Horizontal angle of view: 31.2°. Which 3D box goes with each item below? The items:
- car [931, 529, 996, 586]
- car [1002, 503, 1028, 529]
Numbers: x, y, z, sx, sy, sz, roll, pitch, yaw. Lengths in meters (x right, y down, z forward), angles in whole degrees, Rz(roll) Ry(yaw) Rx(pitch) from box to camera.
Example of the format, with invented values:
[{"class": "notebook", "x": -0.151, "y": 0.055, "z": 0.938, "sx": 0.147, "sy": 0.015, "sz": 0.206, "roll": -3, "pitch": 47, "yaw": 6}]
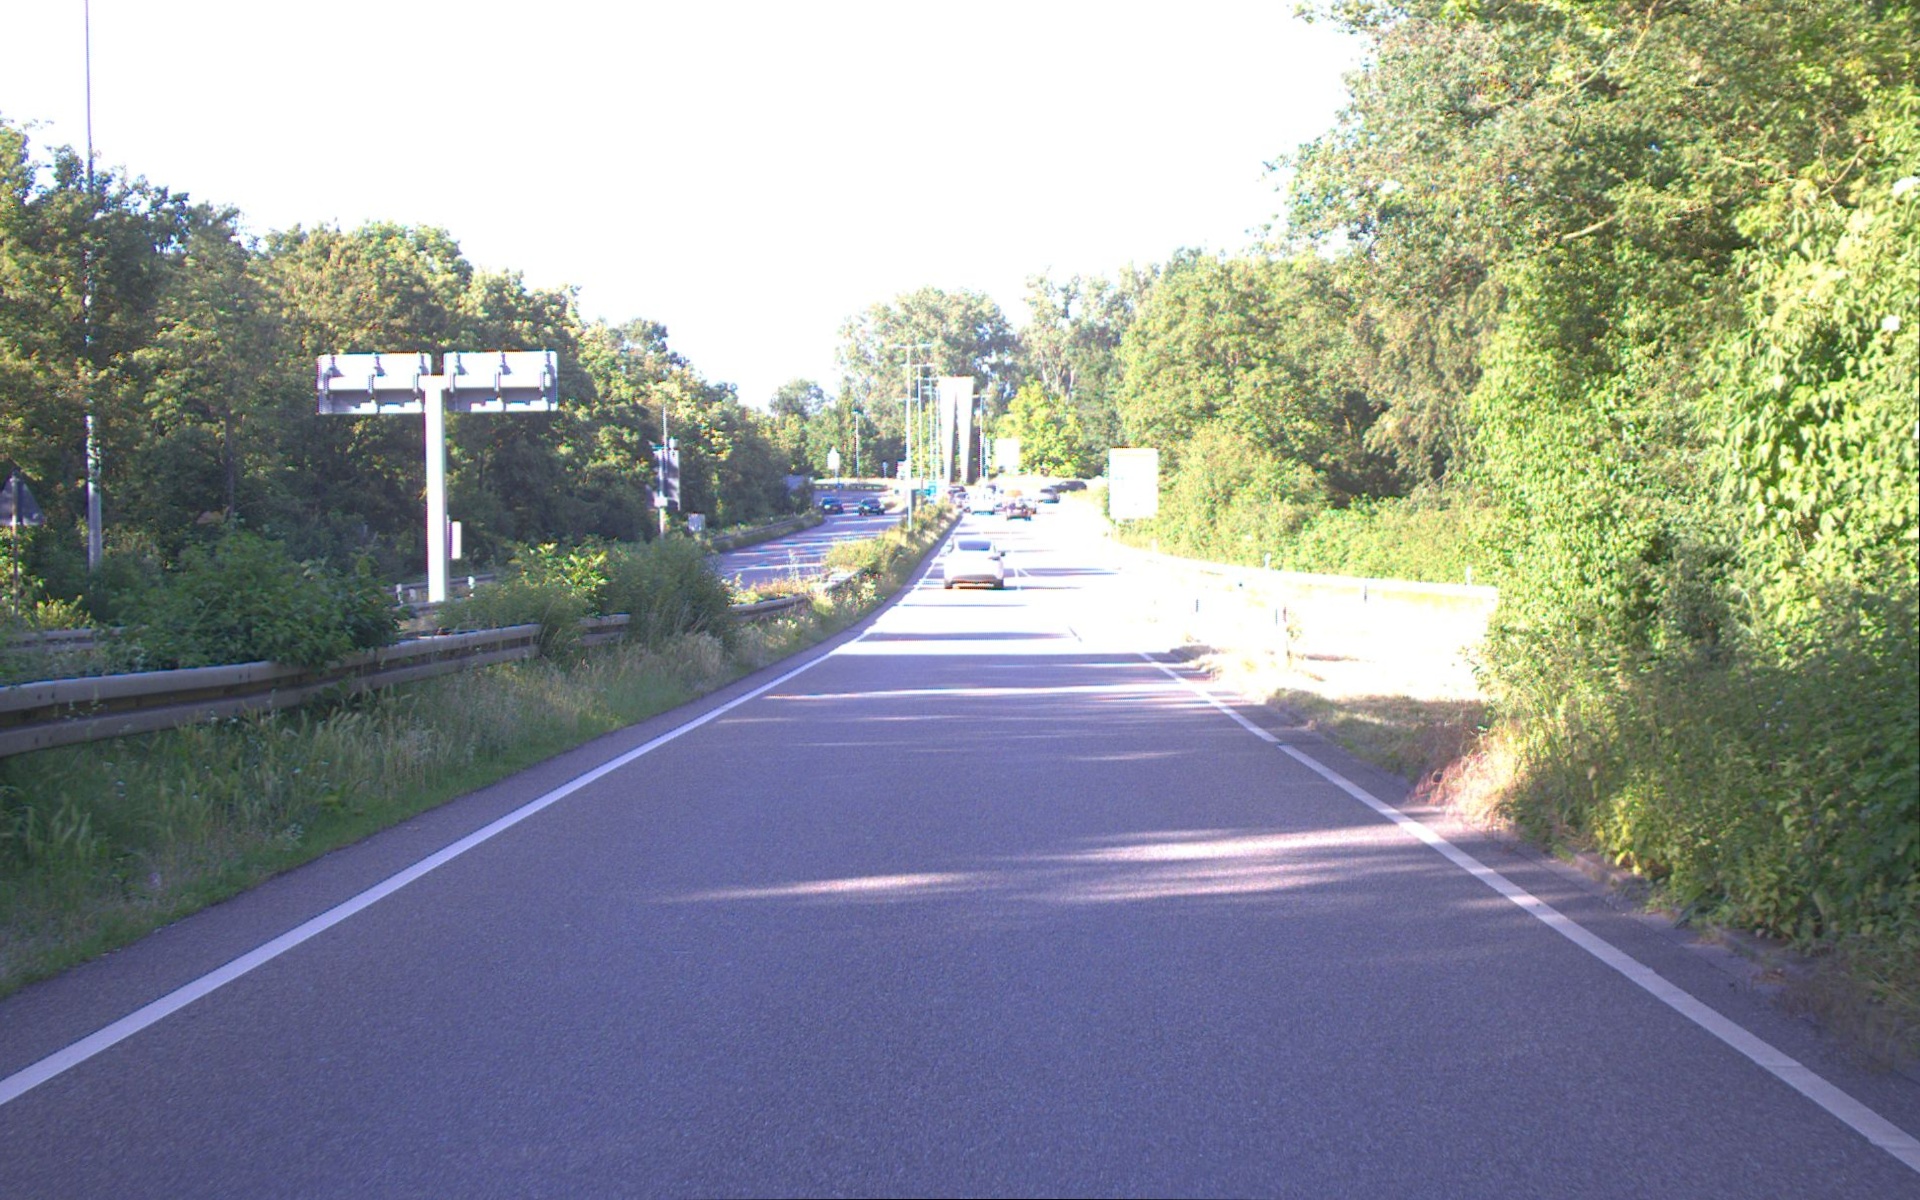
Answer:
[{"class": "car", "x": 0.100, "y": -1.401, "z": 112.334, "sx": 1.884, "sy": 1.809, "sz": 4.001, "roll": 1, "pitch": 1, "yaw": -3}, {"class": "car", "x": 4.190, "y": -6.362, "z": 260.723, "sx": 1.798, "sy": 1.823, "sz": 3.417, "roll": 2, "pitch": 1, "yaw": 2}]
